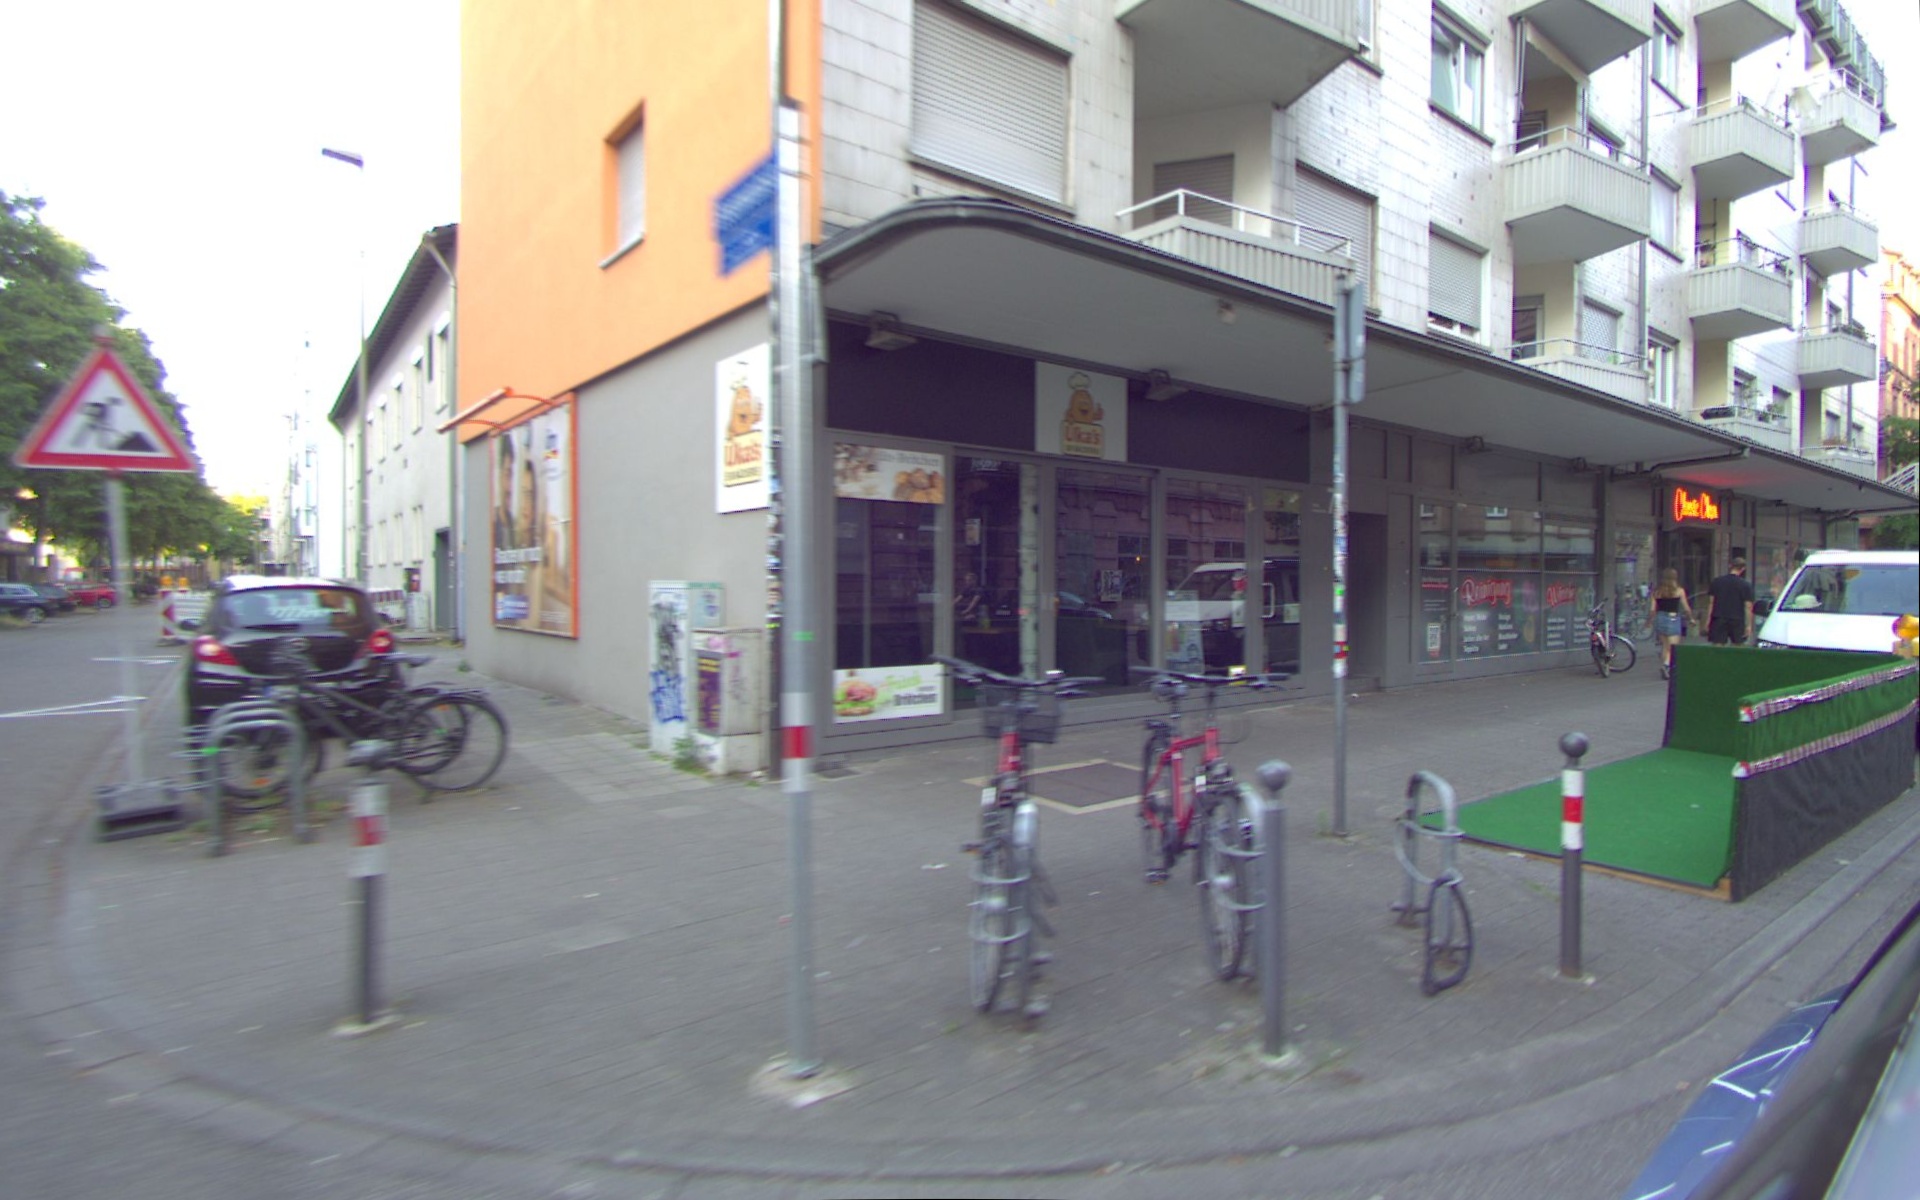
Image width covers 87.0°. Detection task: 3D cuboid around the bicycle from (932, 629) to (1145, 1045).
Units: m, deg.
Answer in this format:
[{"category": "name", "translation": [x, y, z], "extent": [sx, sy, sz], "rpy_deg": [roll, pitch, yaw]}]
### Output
[{"category": "bicycle", "translation": [0.226, 0.781, 4.159], "extent": [0.644, 1.148, 1.946], "rpy_deg": [1, 3, -1]}]

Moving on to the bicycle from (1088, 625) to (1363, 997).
[{"category": "bicycle", "translation": [1.050, 0.768, 4.512], "extent": [0.644, 1.148, 1.946], "rpy_deg": [1, 3, -1]}]

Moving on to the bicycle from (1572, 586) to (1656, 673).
[{"category": "bicycle", "translation": [10.220, 0.419, 15.786], "extent": [0.908, 1.210, 1.688], "rpy_deg": [3, 4, 38]}]

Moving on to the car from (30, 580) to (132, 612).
[{"category": "car", "translation": [-49.525, -0.236, 57.068], "extent": [1.932, 1.705, 3.954], "rpy_deg": [-1, 1, 33]}]

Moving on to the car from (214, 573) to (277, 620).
[{"category": "car", "translation": [-28.451, -0.145, 40.392], "extent": [1.809, 1.758, 3.748], "rpy_deg": [-2, 1, -32]}]

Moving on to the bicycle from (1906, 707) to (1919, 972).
[{"category": "bicycle", "translation": [4.745, 0.939, 4.338], "extent": [1.882, 1.031, 0.658], "rpy_deg": [-2, 1, -36]}]

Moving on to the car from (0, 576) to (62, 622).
[{"category": "car", "translation": [-36.682, -0.007, 38.165], "extent": [1.936, 1.705, 3.947], "rpy_deg": [0, 1, 38]}]

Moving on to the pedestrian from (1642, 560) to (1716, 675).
[{"category": "pedestrian", "translation": [11.003, 0.240, 15.489], "extent": [0.731, 1.686, 0.710], "rpy_deg": [-2, 3, -38]}]

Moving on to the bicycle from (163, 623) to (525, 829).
[{"category": "bicycle", "translation": [-3.937, 0.748, 6.614], "extent": [1.926, 1.080, 0.565], "rpy_deg": [-2, 2, -33]}]

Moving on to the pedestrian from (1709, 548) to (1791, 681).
[{"category": "pedestrian", "translation": [11.435, 0.177, 14.649], "extent": [0.845, 1.850, 0.710], "rpy_deg": [-2, 3, -38]}]

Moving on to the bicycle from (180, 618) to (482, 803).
[{"category": "bicycle", "translation": [-4.362, 0.715, 7.124], "extent": [1.723, 1.080, 0.565], "rpy_deg": [-2, 2, -33]}]

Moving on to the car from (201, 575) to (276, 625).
[{"category": "car", "translation": [-22.553, -0.018, 31.759], "extent": [1.776, 1.437, 4.133], "rpy_deg": [-2, 1, -34]}]

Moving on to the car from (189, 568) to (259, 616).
[{"category": "car", "translation": [-26.079, -0.297, 35.962], "extent": [1.840, 1.615, 3.754], "rpy_deg": [-2, 1, -34]}]

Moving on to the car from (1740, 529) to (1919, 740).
[{"category": "car", "translation": [10.808, 0.304, 11.420], "extent": [4.911, 1.998, 1.964], "rpy_deg": [0, 3, -38]}]

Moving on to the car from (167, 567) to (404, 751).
[{"category": "car", "translation": [-6.857, 0.433, 10.246], "extent": [1.674, 1.494, 3.679], "rpy_deg": [-2, 2, -36]}]

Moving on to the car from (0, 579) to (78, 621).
[{"category": "car", "translation": [-40.454, 0.015, 43.397], "extent": [3.931, 1.705, 1.944], "rpy_deg": [-2, 1, -41]}]
